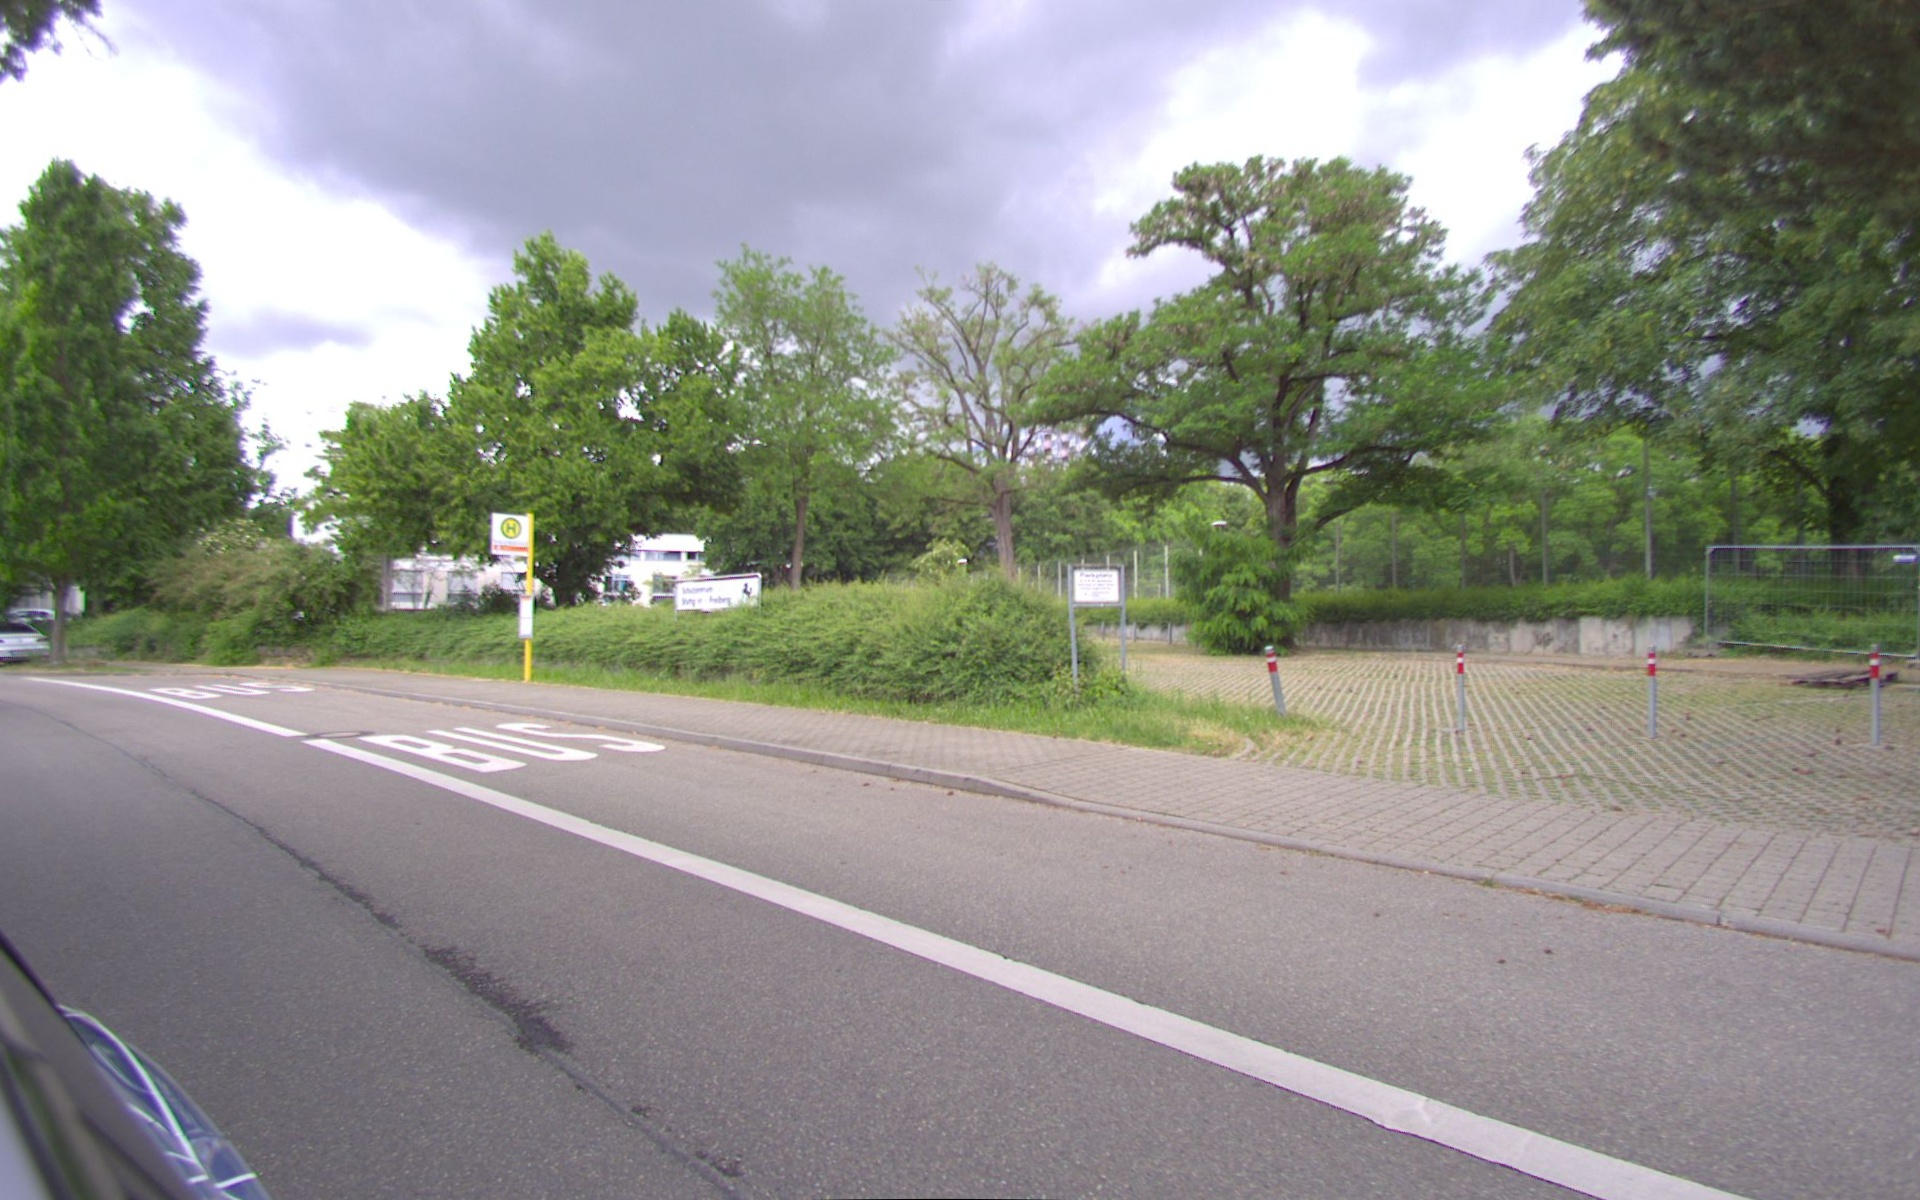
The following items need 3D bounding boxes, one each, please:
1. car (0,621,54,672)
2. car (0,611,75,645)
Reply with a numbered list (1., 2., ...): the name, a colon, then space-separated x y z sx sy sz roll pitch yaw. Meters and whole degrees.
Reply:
1. car: -30.640 1.448 31.914 4.619 1.503 1.834 -1 -1 31
2. car: -48.373 1.442 52.100 3.747 1.650 2.006 -1 1 -15
